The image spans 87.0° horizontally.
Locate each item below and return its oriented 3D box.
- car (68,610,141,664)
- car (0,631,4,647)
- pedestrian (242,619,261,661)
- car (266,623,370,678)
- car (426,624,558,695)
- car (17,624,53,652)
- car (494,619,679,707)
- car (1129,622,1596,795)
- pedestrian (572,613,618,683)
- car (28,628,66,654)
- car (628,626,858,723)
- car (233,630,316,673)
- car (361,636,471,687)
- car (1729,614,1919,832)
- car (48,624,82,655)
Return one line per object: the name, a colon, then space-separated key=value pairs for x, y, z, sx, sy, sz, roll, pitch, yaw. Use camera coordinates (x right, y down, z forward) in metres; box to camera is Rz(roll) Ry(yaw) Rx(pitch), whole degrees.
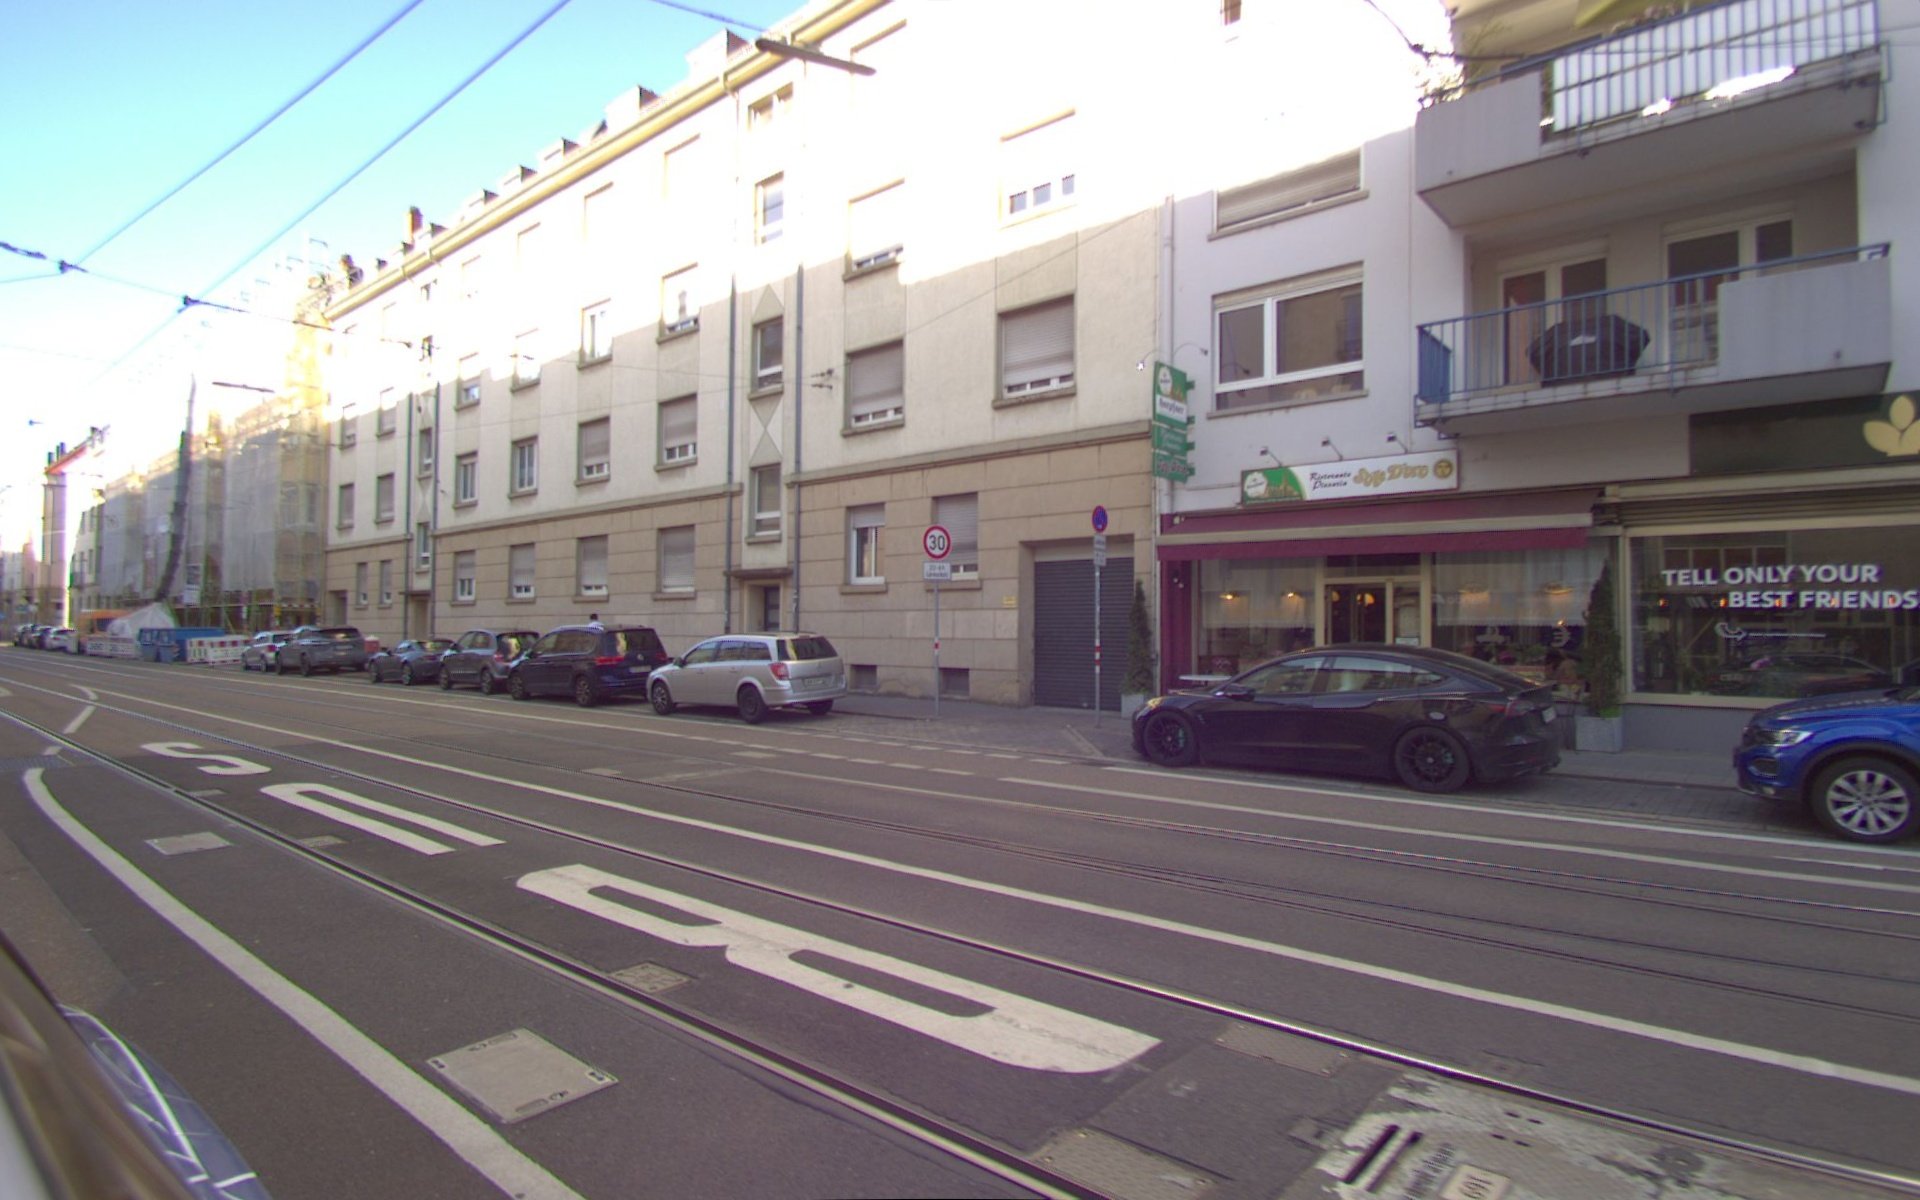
car: x=-45.894 y=1.952 z=54.226 sx=5.871 sy=2.717 sz=2.186 roll=-1 pitch=0 yaw=42
car: x=-94.859 y=3.843 z=98.489 sx=4.959 sy=1.538 sz=2.202 roll=-1 pitch=0 yaw=42
pedestrian: x=-32.006 y=1.788 z=45.713 sx=0.762 sy=1.886 sz=0.512 roll=-1 pitch=0 yaw=41
car: x=-21.263 y=1.614 z=33.463 sx=4.156 sy=1.621 sz=1.729 roll=-1 pitch=0 yaw=40
car: x=-11.587 y=1.409 z=24.995 sx=3.594 sy=1.570 sz=1.622 roll=-1 pitch=0 yaw=41
car: x=-68.302 y=2.770 z=74.701 sx=4.183 sy=1.971 sz=1.549 roll=-1 pitch=0 yaw=42
car: x=-8.093 y=1.267 z=21.753 sx=4.321 sy=1.645 sz=1.796 roll=-1 pitch=0 yaw=40
car: x=4.245 y=1.014 z=11.152 sx=4.444 sy=1.486 sz=1.750 roll=-1 pitch=0 yaw=42
pedestrian: x=-9.550 y=1.249 z=26.509 sx=1.003 sy=1.781 sz=0.656 roll=-1 pitch=0 yaw=34
car: x=-63.418 y=2.814 z=70.274 sx=3.936 sy=1.696 sz=1.549 roll=-1 pitch=0 yaw=42
car: x=-3.986 y=1.245 z=18.200 sx=4.367 sy=1.465 sz=1.708 roll=-1 pitch=0 yaw=40
car: x=-24.689 y=1.802 z=36.418 sx=3.505 sy=1.390 sz=1.545 roll=-1 pitch=0 yaw=40
car: x=-15.088 y=1.667 z=28.000 sx=3.521 sy=1.229 sz=1.457 roll=-1 pitch=0 yaw=40
car: x=8.244 y=0.861 z=7.289 sx=4.233 sy=1.515 sz=1.752 roll=-3 pitch=-1 yaw=39
car: x=-58.610 y=2.556 z=66.299 sx=1.634 sy=1.937 sz=3.770 roll=-1 pitch=0 yaw=-41
